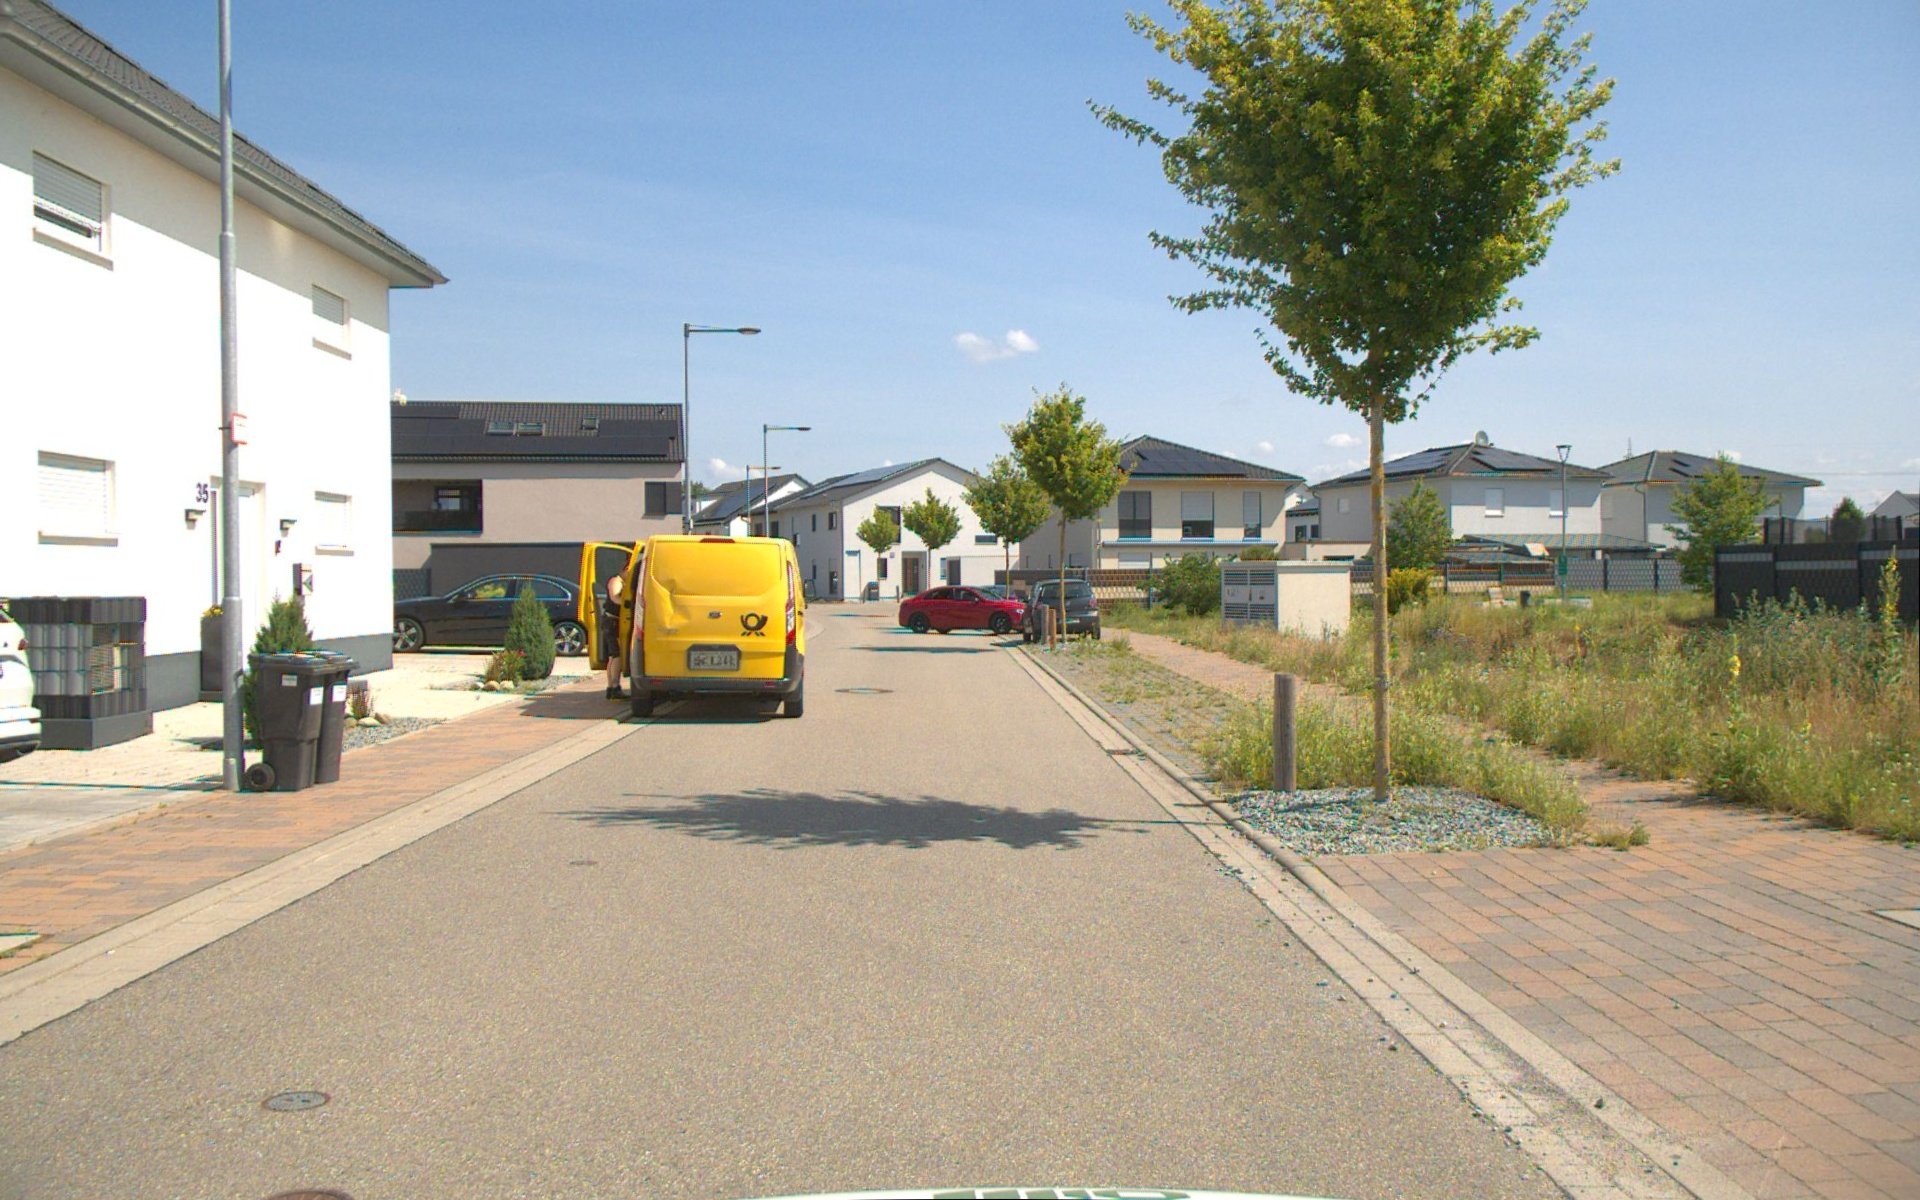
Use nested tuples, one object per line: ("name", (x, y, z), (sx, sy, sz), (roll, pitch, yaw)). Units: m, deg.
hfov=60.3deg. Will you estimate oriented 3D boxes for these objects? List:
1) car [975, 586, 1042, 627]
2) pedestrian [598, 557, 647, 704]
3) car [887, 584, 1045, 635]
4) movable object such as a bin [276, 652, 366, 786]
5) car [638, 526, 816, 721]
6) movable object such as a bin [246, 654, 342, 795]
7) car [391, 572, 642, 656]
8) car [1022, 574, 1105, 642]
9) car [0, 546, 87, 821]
("car", (1.689, 0.212, 58.977), (1.721, 1.387, 4.569), (1, 1, -7))
("pedestrian", (-4.107, 0.362, 20.143), (0.521, 1.768, 0.569), (1, 1, -8))
("car", (0.171, 0.262, 49.441), (4.417, 1.463, 1.766), (1, 1, 27))
("movable object such as a bin", (-4.706, 0.866, 12.201), (0.476, 0.942, 0.530), (0, 0, -4))
("car", (-2.711, 0.245, 20.119), (1.847, 2.049, 4.836), (1, 0, -5))
("movable object such as a bin", (-4.682, 0.864, 11.653), (0.476, 0.942, 0.530), (0, 0, -4))
("car", (-8.090, 0.247, 30.385), (4.319, 1.477, 1.742), (0, 0, -15))
("car", (2.457, 0.165, 39.967), (1.566, 1.500, 3.673), (-2, 1, -3))
("car", (-7.688, 0.512, 10.004), (3.872, 1.647, 1.795), (0, 0, 3))
